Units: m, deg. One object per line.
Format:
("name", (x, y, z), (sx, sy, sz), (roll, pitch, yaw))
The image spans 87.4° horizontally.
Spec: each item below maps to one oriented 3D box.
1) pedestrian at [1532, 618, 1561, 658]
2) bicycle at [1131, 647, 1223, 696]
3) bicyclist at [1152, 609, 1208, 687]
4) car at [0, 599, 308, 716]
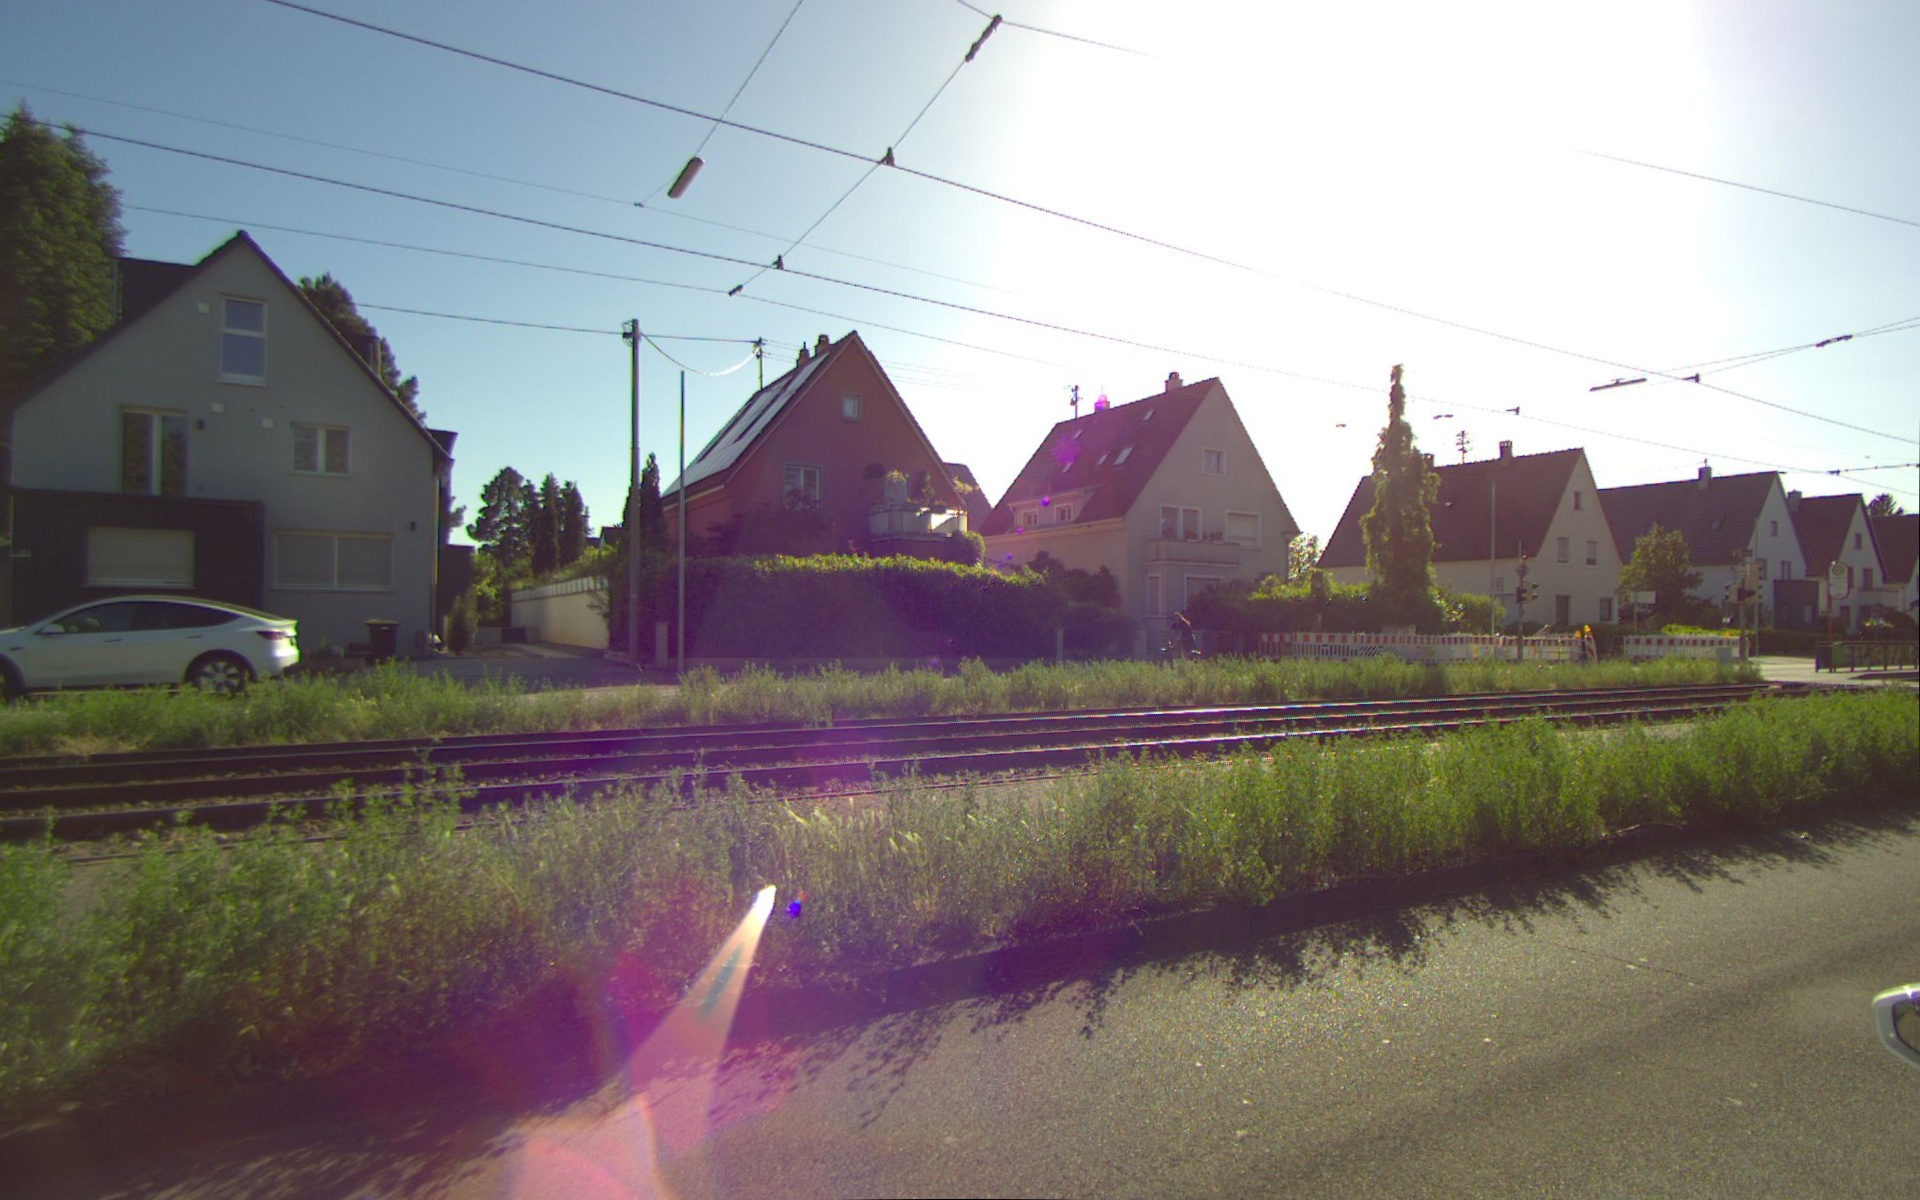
("pedestrian", (24.033, 1.548, 41.157), (0.806, 1.555, 0.786), (-1, 1, -37))
("bicycle", (5.493, 1.773, 25.342), (2.282, 1.149, 0.847), (1, 0, -30))
("bicyclist", (5.564, 1.192, 25.384), (1.059, 1.912, 0.847), (1, 0, -30))
("car", (-13.593, 0.891, 16.412), (4.782, 1.700, 1.984), (1, 0, -30))
